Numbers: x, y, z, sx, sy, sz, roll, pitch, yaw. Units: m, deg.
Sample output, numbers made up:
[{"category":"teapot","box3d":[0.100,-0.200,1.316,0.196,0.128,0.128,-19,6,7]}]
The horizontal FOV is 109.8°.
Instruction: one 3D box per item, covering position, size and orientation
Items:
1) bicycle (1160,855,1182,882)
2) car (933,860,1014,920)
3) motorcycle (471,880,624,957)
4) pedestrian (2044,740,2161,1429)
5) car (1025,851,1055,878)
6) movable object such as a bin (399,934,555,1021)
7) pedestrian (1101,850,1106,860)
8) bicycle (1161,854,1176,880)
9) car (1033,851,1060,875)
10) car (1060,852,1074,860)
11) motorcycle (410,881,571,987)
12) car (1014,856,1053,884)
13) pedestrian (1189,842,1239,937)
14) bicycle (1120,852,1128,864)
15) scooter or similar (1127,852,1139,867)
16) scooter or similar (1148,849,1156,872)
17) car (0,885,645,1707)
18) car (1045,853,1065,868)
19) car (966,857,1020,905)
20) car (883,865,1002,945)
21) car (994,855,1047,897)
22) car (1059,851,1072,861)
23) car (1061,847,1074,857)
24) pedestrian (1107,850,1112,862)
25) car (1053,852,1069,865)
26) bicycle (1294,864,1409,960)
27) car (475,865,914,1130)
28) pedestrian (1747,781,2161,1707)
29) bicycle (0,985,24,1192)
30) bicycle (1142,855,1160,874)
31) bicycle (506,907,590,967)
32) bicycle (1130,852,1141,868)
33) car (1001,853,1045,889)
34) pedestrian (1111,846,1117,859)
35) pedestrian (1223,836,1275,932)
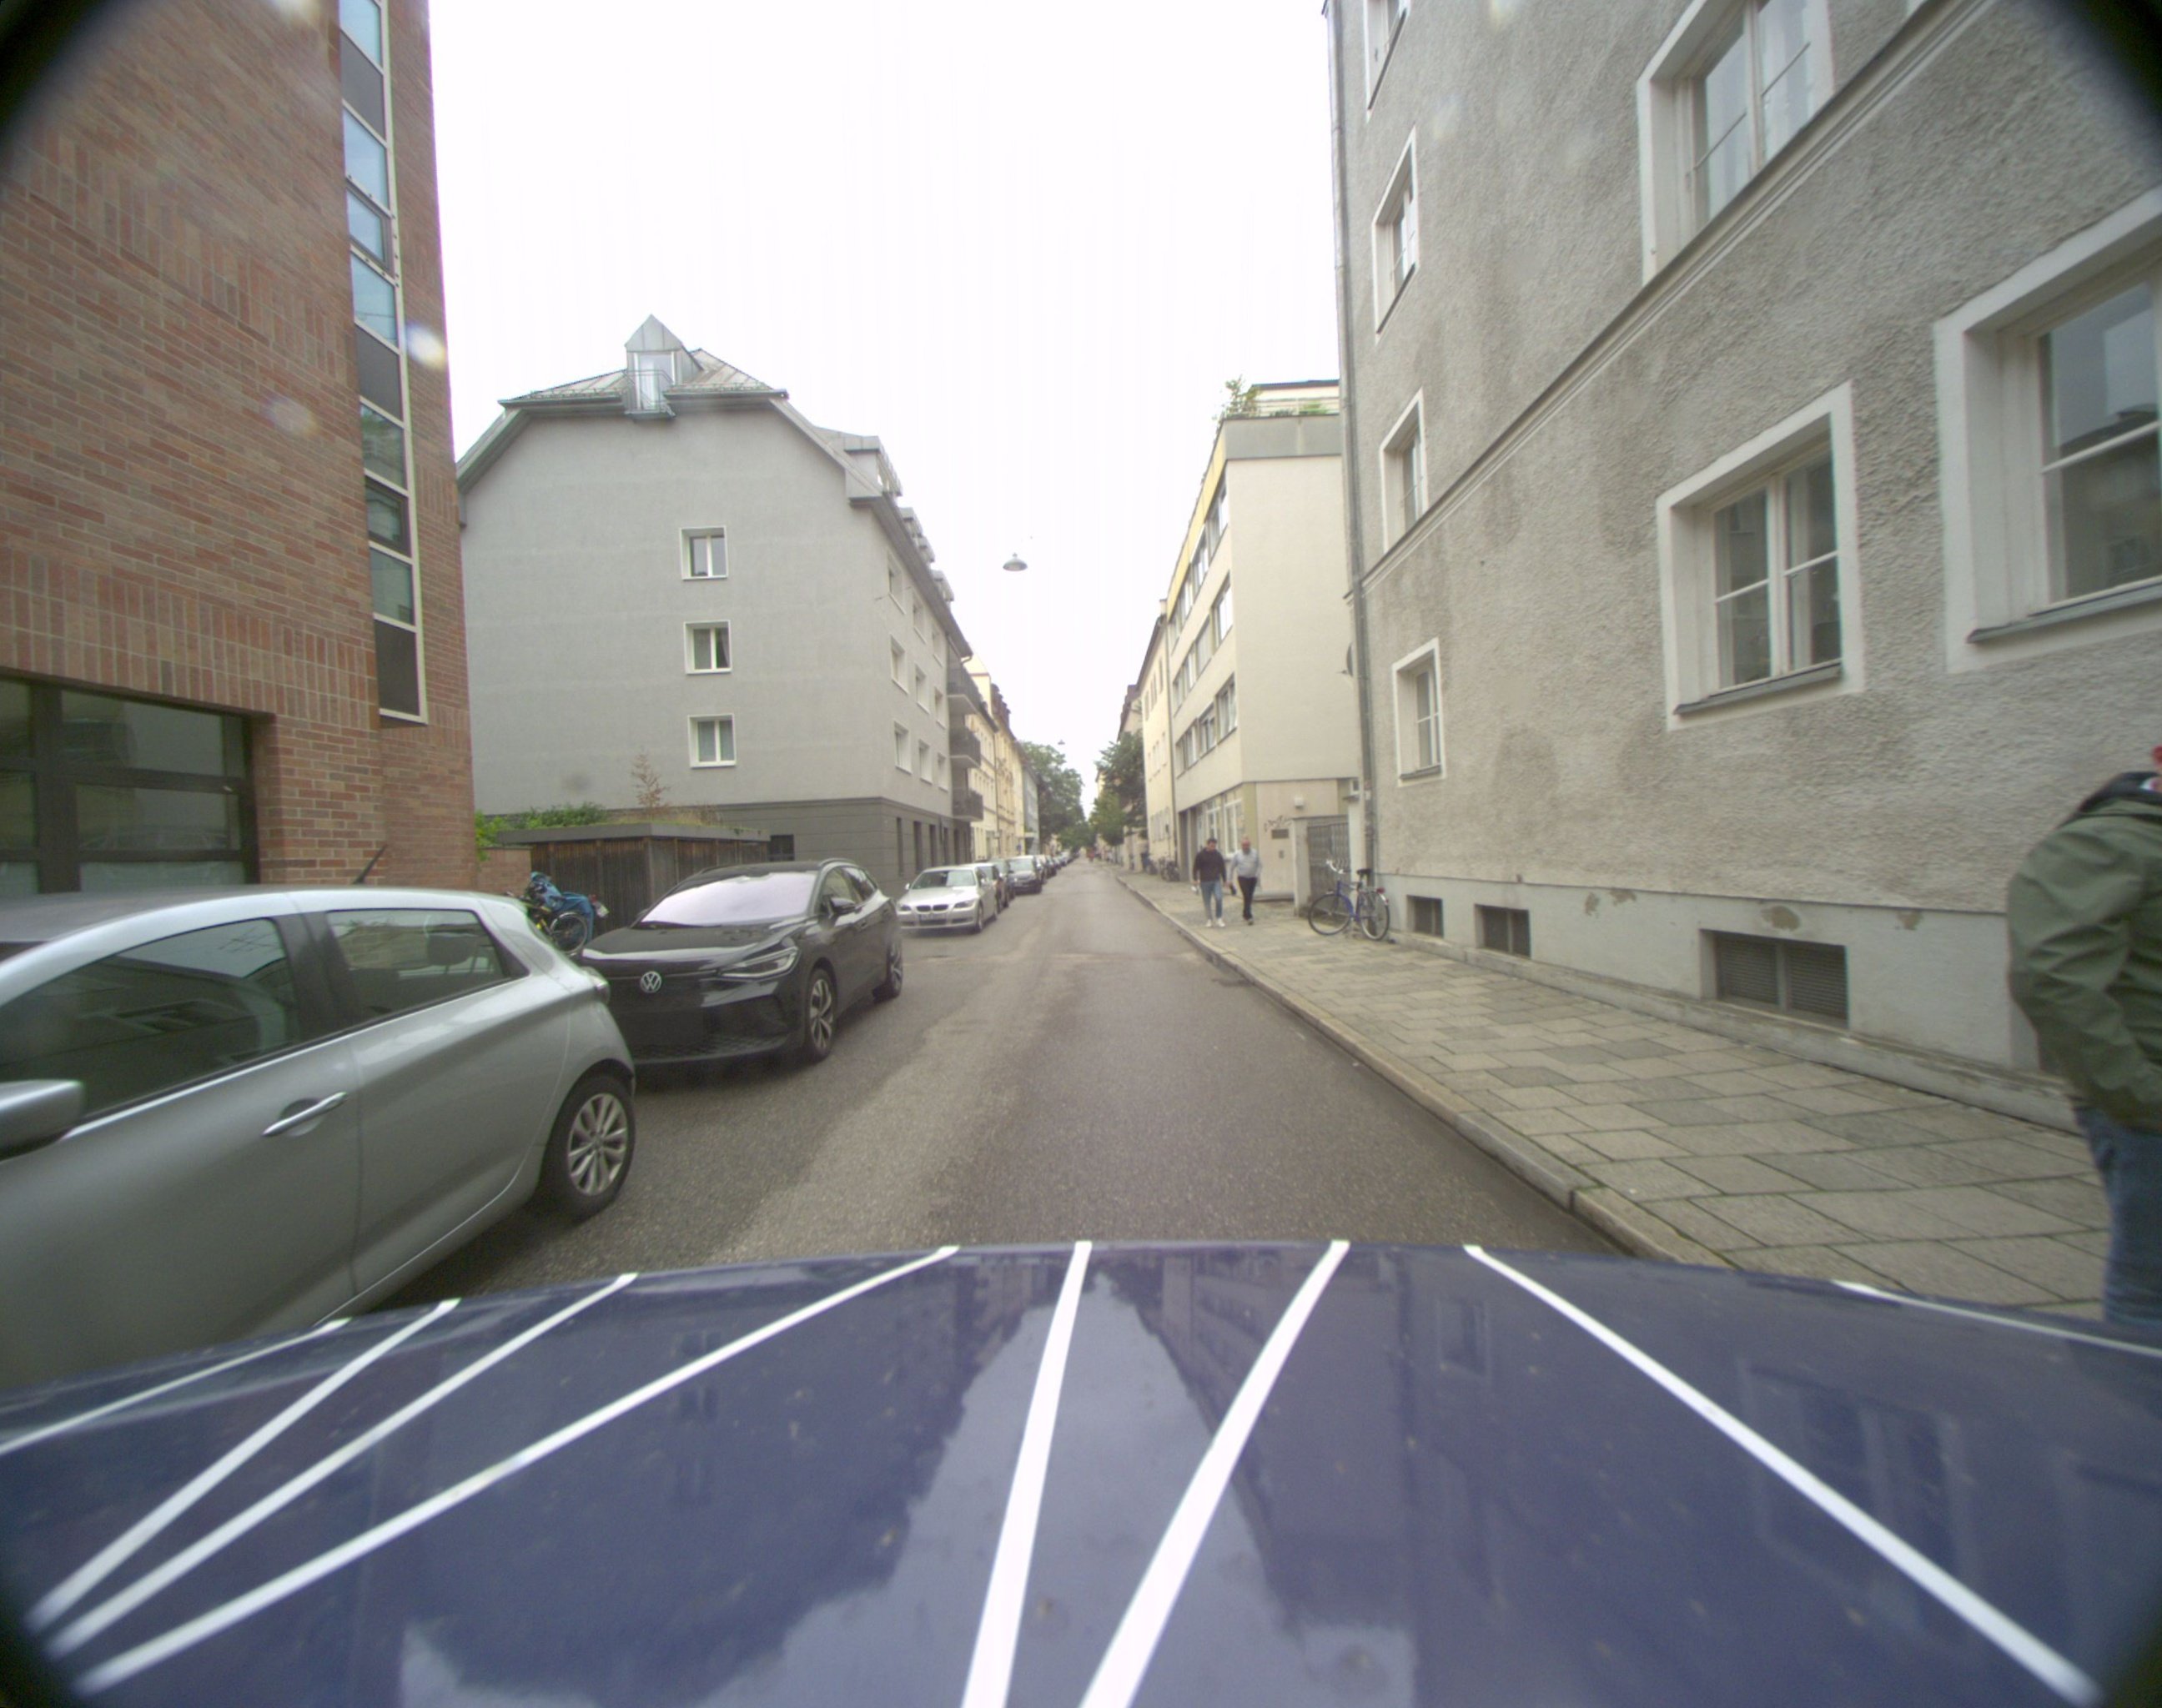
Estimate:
[{"category":"bicycle","box3d":[4.037,0.631,34.167,0.563,1.153,1.720,-3,1,-5]},{"category":"car","box3d":[-3.055,0.969,22.327,1.750,1.453,4.149,-3,0,-1]},{"category":"motorcycle","box3d":[-9.861,1.188,14.070,2.520,1.335,0.551,-2,1,6]},{"category":"pedestrian","box3d":[2.921,0.557,1.621,0.614,1.704,0.823,-5,1,0]},{"category":"car","box3d":[-2.716,0.658,51.653,1.680,1.651,4.512,-3,0,0]},{"category":"movable object such as a bin","box3d":[-6.971,1.413,8.820,1.089,0.827,0.844,-2,1,2]},{"category":"pedestrian","box3d":[3.744,0.178,126.174,0.766,1.742,0.970,-2,1,0]},{"category":"bicycle","box3d":[4.128,0.603,35.882,0.459,1.153,1.605,-5,1,1]},{"category":"car","box3d":[-2.574,0.642,57.531,1.706,1.597,4.684,-3,0,0]},{"category":"car","box3d":[-2.284,0.303,125.256,1.998,1.306,4.593,-2,0,1]},{"category":"motorcycle","box3d":[-8.695,1.131,11.311,0.541,1.337,1.942,-1,1,12]},{"category":"car","box3d":[-2.605,0.847,42.171,1.812,1.355,3.945,-2,0,1]},{"category":"pedestrian","box3d":[2.575,0.667,14.829,0.720,1.755,0.838,-4,1,1]},{"category":"bicycle","box3d":[4.109,0.358,72.732,0.539,1.132,1.916,-4,1,0]},{"category":"scooter or similar","box3d":[4.190,0.422,61.155,0.553,1.137,1.359,-5,1,17]},{"category":"scooter or similar","box3d":[4.282,0.372,45.752,0.318,1.368,1.239,-2,1,0]},{"category":"car","box3d":[-2.984,1.017,1.808,1.726,1.626,3.879,-2,1,-3]},{"category":"car","box3d":[-2.657,0.612,78.329,1.830,1.327,4.508,-6,0,0]},{"category":"car","box3d":[-3.118,0.927,27.367,1.525,1.503,3.201,-3,0,-1]},{"category":"car","box3d":[-2.966,1.035,17.257,1.841,1.409,4.600,-3,0,-1]},{"category":"car","box3d":[-2.497,0.878,32.276,1.844,1.520,4.292,-3,0,-1]},{"category":"car","box3d":[-2.474,0.363,119.998,1.860,1.366,4.509,-5,1,-1]},{"category":"car","box3d":[-2.231,-0.312,130.625,1.998,1.677,4.510,-2,0,1]},{"category":"pedestrian","box3d":[3.821,0.261,102.430,0.624,1.570,0.714,-4,1,0]},{"category":"car","box3d":[-2.476,0.527,95.717,1.846,1.420,4.263,-6,0,-2]},{"category":"bicycle","box3d":[3.824,0.781,10.880,0.644,1.210,1.662,-2,1,-18]},{"category":"car","box3d":[-2.994,0.966,7.151,1.890,1.546,4.390,-3,0,-2]},{"category":"pedestrian","box3d":[2.238,0.682,1.619,0.755,1.649,0.906,-5,1,1]},{"category":"bicycle","box3d":[-5.988,1.255,3.334,0.561,1.073,1.471,-3,1,1]},{"category":"bicycle","box3d":[4.046,0.589,44.026,0.705,0.978,1.822,-7,1,-4]},{"category":"bicycle","box3d":[-8.996,1.385,12.872,0.375,0.854,1.320,-2,1,4]},{"category":"bicycle","box3d":[4.222,0.435,59.089,0.545,1.154,1.882,-4,1,-1]},{"category":"car","box3d":[-2.769,0.765,36.961,1.880,1.561,4.315,-1,0,-1]},{"category":"pedestrian","box3d":[4.494,-0.226,102.479,0.615,1.612,0.687,-5,1,1]},{"category":"pedestrian","box3d":[3.293,0.565,14.965,0.720,1.786,0.916,-4,1,1]}]
